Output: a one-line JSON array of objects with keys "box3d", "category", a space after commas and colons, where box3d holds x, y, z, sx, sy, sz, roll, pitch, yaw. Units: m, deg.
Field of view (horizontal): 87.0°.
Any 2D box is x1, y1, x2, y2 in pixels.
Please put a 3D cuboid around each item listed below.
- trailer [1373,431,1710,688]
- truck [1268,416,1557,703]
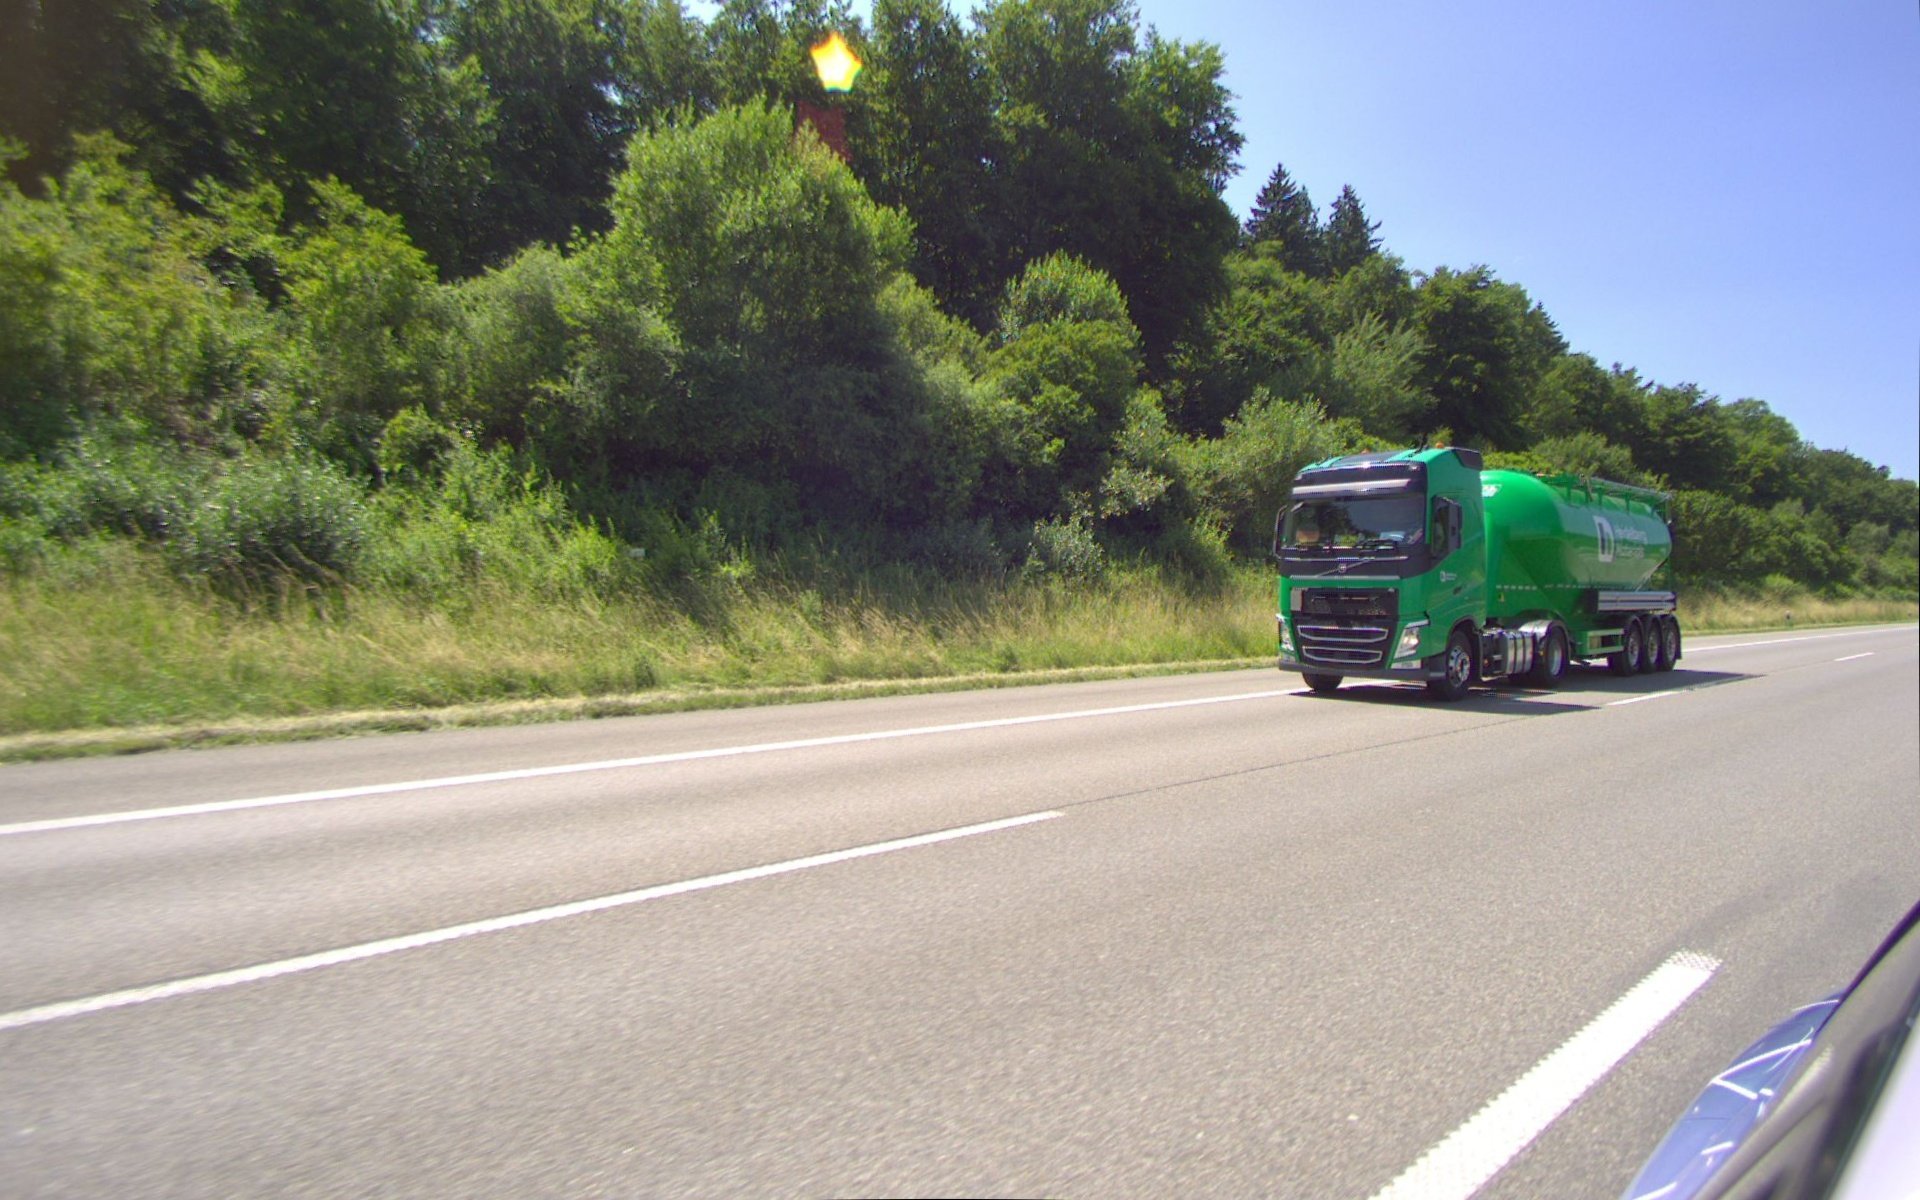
[{"box3d": [12.104, -0.604, 20.398, 10.285, 4.079, 2.592, 1, -1, -41], "category": "trailer"}, {"box3d": [7.368, -0.534, 16.285, 4.808, 3.891, 2.513, 1, -1, -42], "category": "truck"}]
